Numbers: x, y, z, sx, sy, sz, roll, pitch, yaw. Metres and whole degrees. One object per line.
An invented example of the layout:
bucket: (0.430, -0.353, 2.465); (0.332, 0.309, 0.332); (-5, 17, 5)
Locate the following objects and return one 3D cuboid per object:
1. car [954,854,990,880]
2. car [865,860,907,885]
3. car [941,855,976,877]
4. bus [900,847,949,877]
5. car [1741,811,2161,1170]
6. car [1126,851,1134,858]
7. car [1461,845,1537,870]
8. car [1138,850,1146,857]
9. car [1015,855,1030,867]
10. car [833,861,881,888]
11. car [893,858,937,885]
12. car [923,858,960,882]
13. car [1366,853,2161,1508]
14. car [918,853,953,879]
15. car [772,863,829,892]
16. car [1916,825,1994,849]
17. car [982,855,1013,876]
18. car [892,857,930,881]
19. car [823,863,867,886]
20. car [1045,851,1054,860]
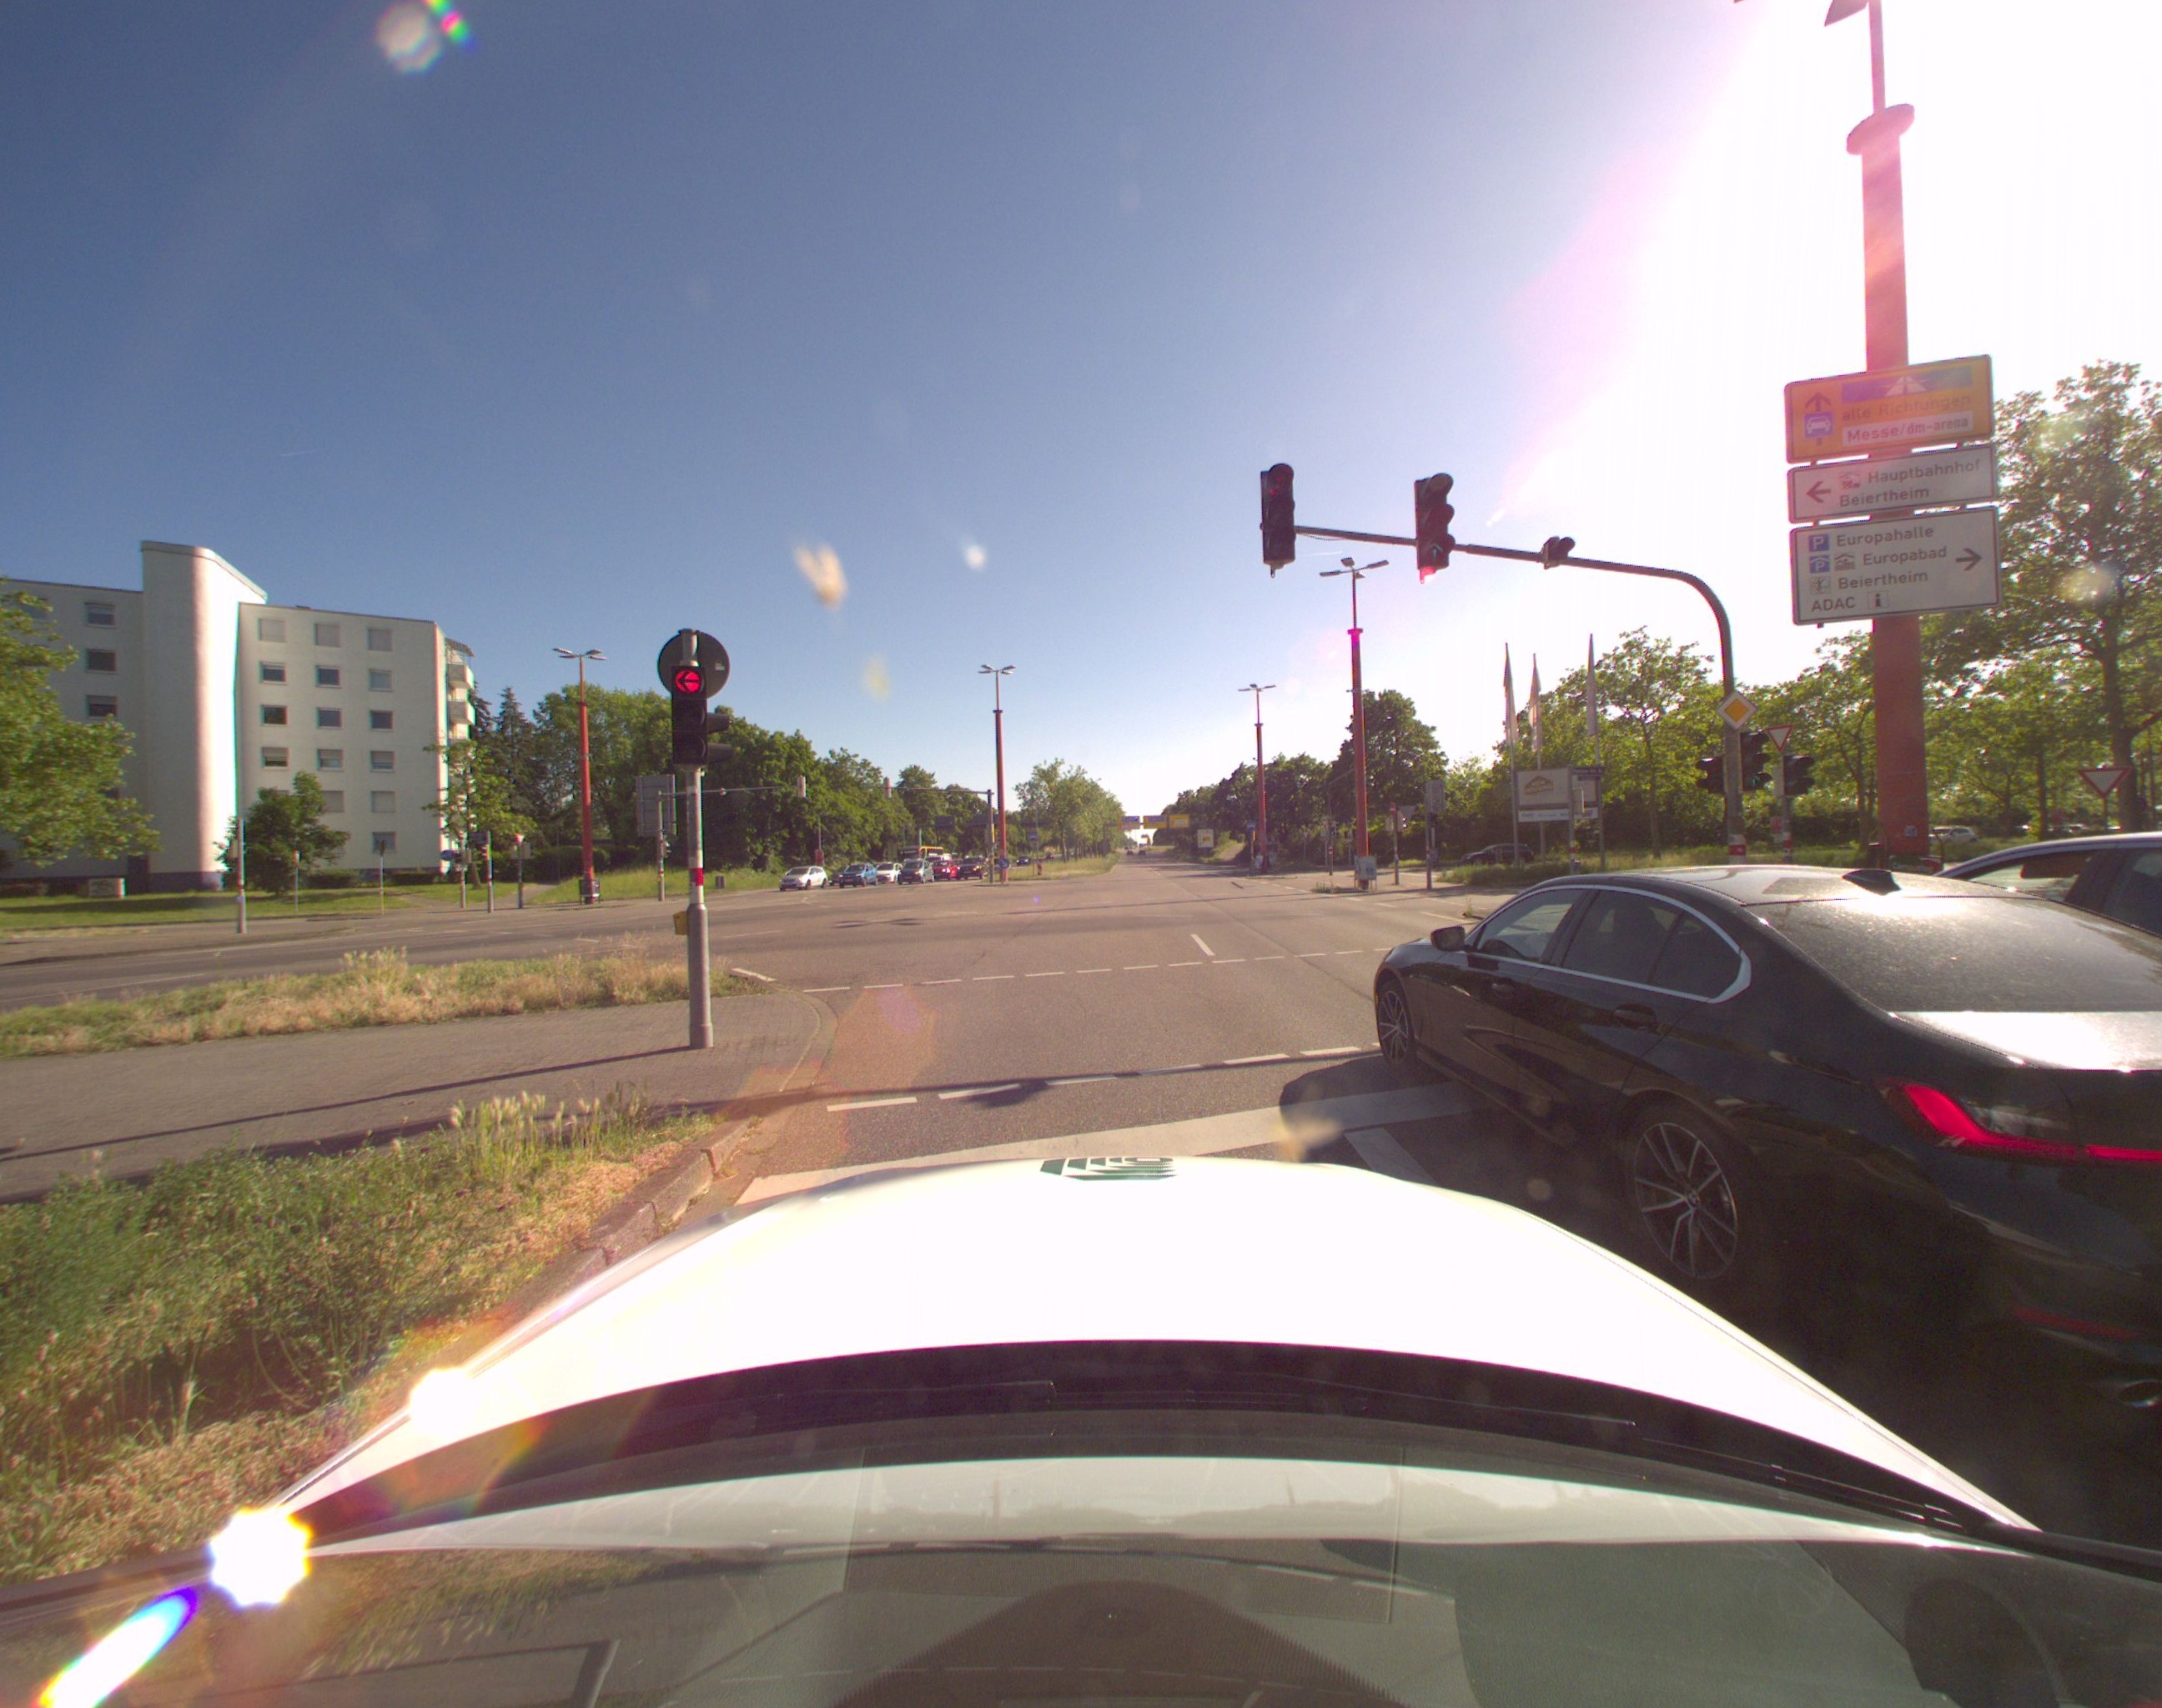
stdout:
car: (-7.522, 0.858, 56.707); (1.787, 1.626, 4.144); (-3, 0, 1)
car: (-13.768, 1.288, 57.767); (1.895, 1.555, 4.000); (-3, 0, 0)
car: (-9.740, 0.934, 65.025); (1.893, 1.630, 4.003); (-1, 0, 3)
bus: (-18.171, 0.904, 95.500); (2.635, 3.261, 12.545); (0, 0, 3)
car: (5.709, 0.610, 4.126); (1.709, 1.608, 3.849); (0, -1, 2)
car: (12.519, 0.030, 208.471); (1.986, 1.733, 4.001); (0, -1, 2)
car: (27.769, 0.234, 54.274); (4.251, 1.635, 1.777); (-1, -1, 17)
car: (16.079, -0.066, 214.006); (1.986, 1.733, 4.001); (0, -1, 2)
car: (-9.452, 1.110, 131.871); (1.830, 1.837, 3.962); (-2, 0, 2)
car: (-14.131, 1.287, 51.621); (1.794, 1.515, 3.861); (-3, 0, 2)
car: (-10.690, 1.080, 52.701); (1.867, 1.550, 4.029); (-3, 0, 2)
car: (-10.061, 1.125, 59.028); (1.869, 1.552, 4.000); (-5, 0, 0)
car: (2.950, 0.733, 3.941); (1.757, 1.441, 4.297); (0, 0, 2)
car: (-12.716, 1.000, 71.306); (1.954, 2.155, 5.083); (-2, 0, 1)
car: (-17.638, 1.425, 51.422); (1.869, 1.652, 4.222); (-3, -1, 3)
car: (64.960, -1.283, 60.565); (4.281, 1.635, 1.765); (-2, 0, -8)
car: (-6.697, 0.892, 65.876); (1.878, 1.543, 4.002); (-3, 0, 2)
car: (-13.353, 1.144, 64.255); (1.866, 1.784, 4.004); (-2, 0, 3)
car: (-17.551, 1.503, 60.684); (1.877, 1.513, 4.003); (-3, 0, 3)
car: (-7.977, 0.393, 208.631); (1.913, 1.999, 4.605); (-2, 0, 1)
